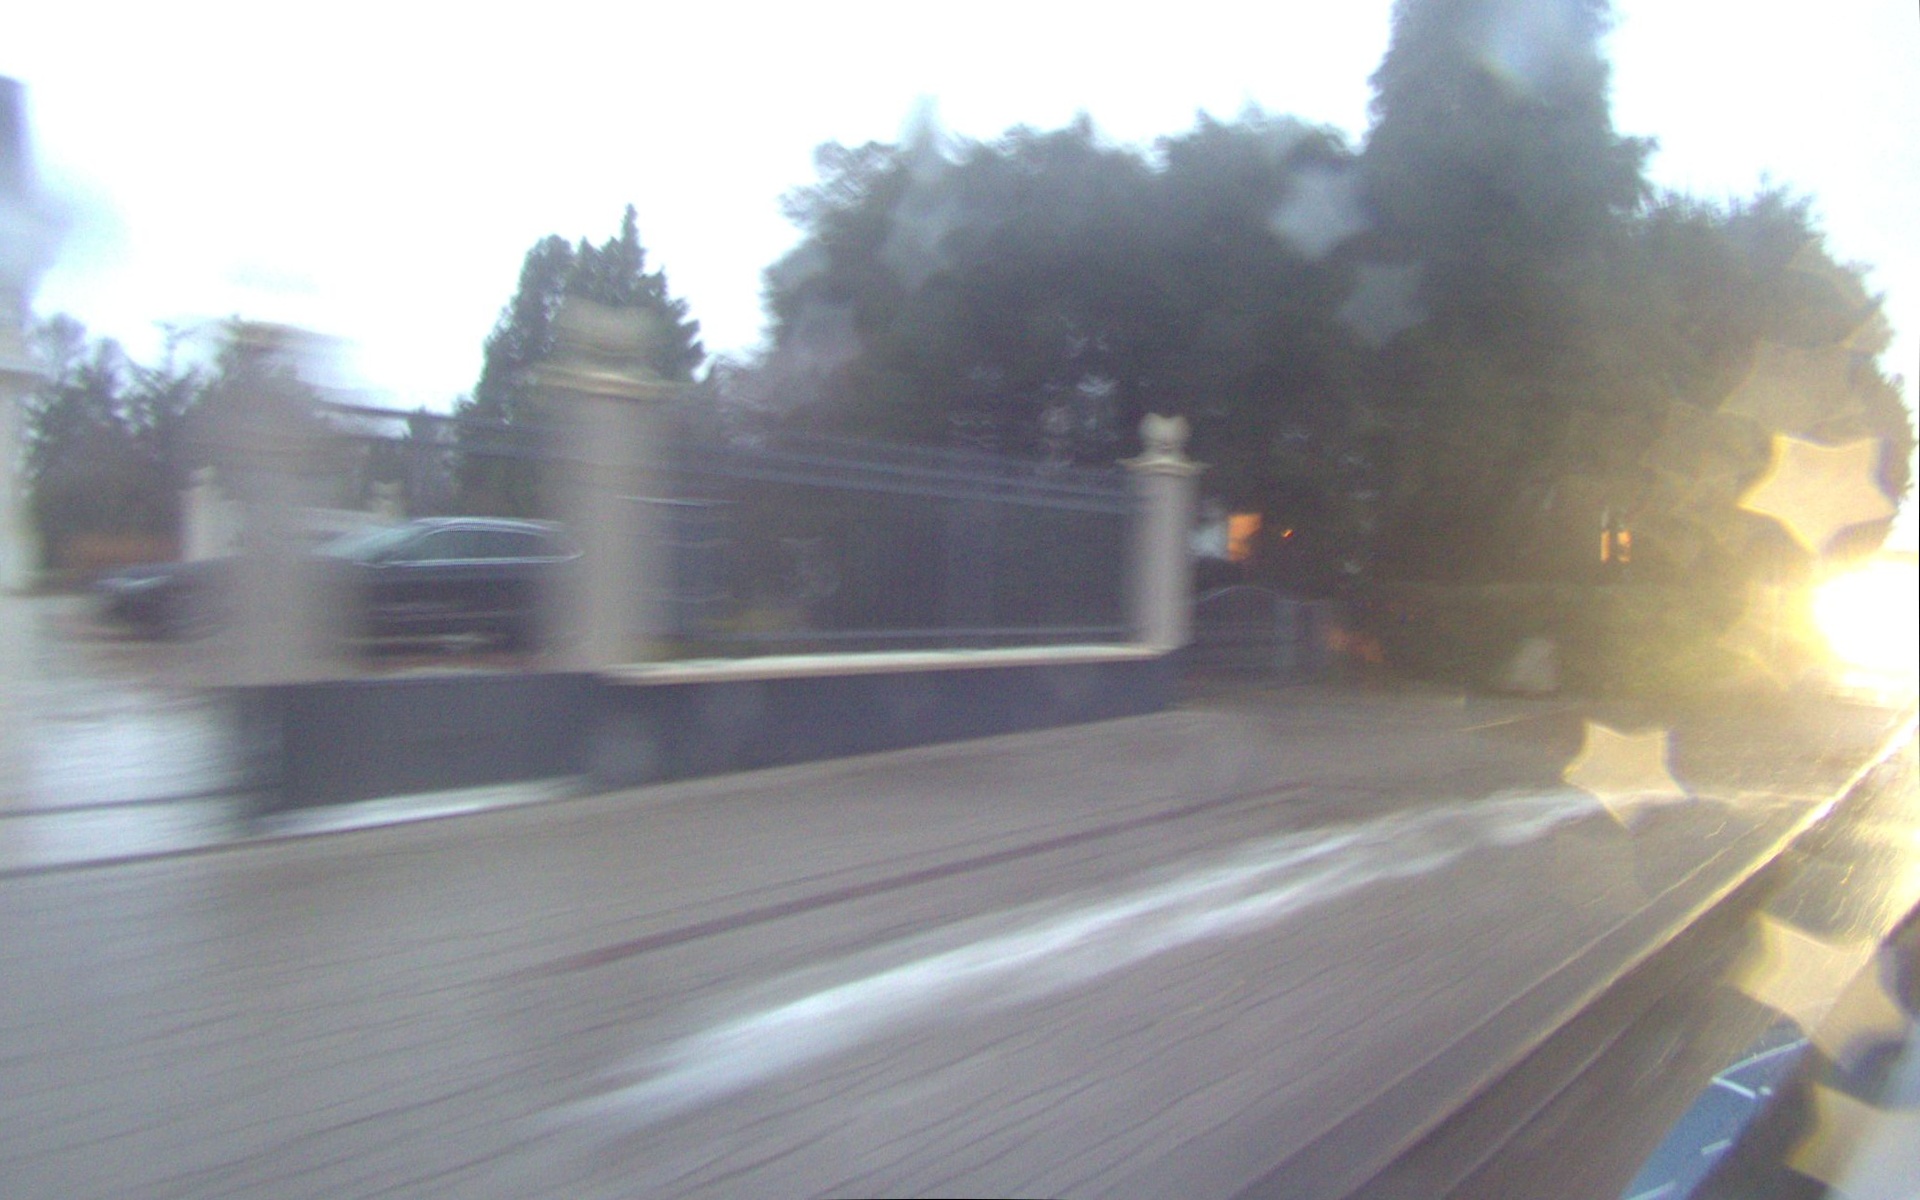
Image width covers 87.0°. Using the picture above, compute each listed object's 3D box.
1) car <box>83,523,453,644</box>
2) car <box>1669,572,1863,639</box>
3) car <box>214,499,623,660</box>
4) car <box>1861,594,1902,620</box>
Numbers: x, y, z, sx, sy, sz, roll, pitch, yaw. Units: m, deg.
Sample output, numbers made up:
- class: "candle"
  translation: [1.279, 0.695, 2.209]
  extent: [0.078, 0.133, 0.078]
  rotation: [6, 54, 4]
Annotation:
- class: "car"
  translation: [-9.230, -0.247, 13.673]
  extent: [3.932, 1.392, 1.808]
  rotation: [0, 3, -42]
- class: "car"
  translation: [23.617, 0.101, 29.794]
  extent: [4.318, 1.753, 1.971]
  rotation: [2, 2, 40]
- class: "car"
  translation: [-6.668, -0.281, 12.763]
  extent: [1.942, 1.683, 4.164]
  rotation: [3, 3, 44]
- class: "car"
  translation: [61.773, 0.452, 67.881]
  extent: [1.768, 1.638, 3.818]
  rotation: [2, 2, 39]
